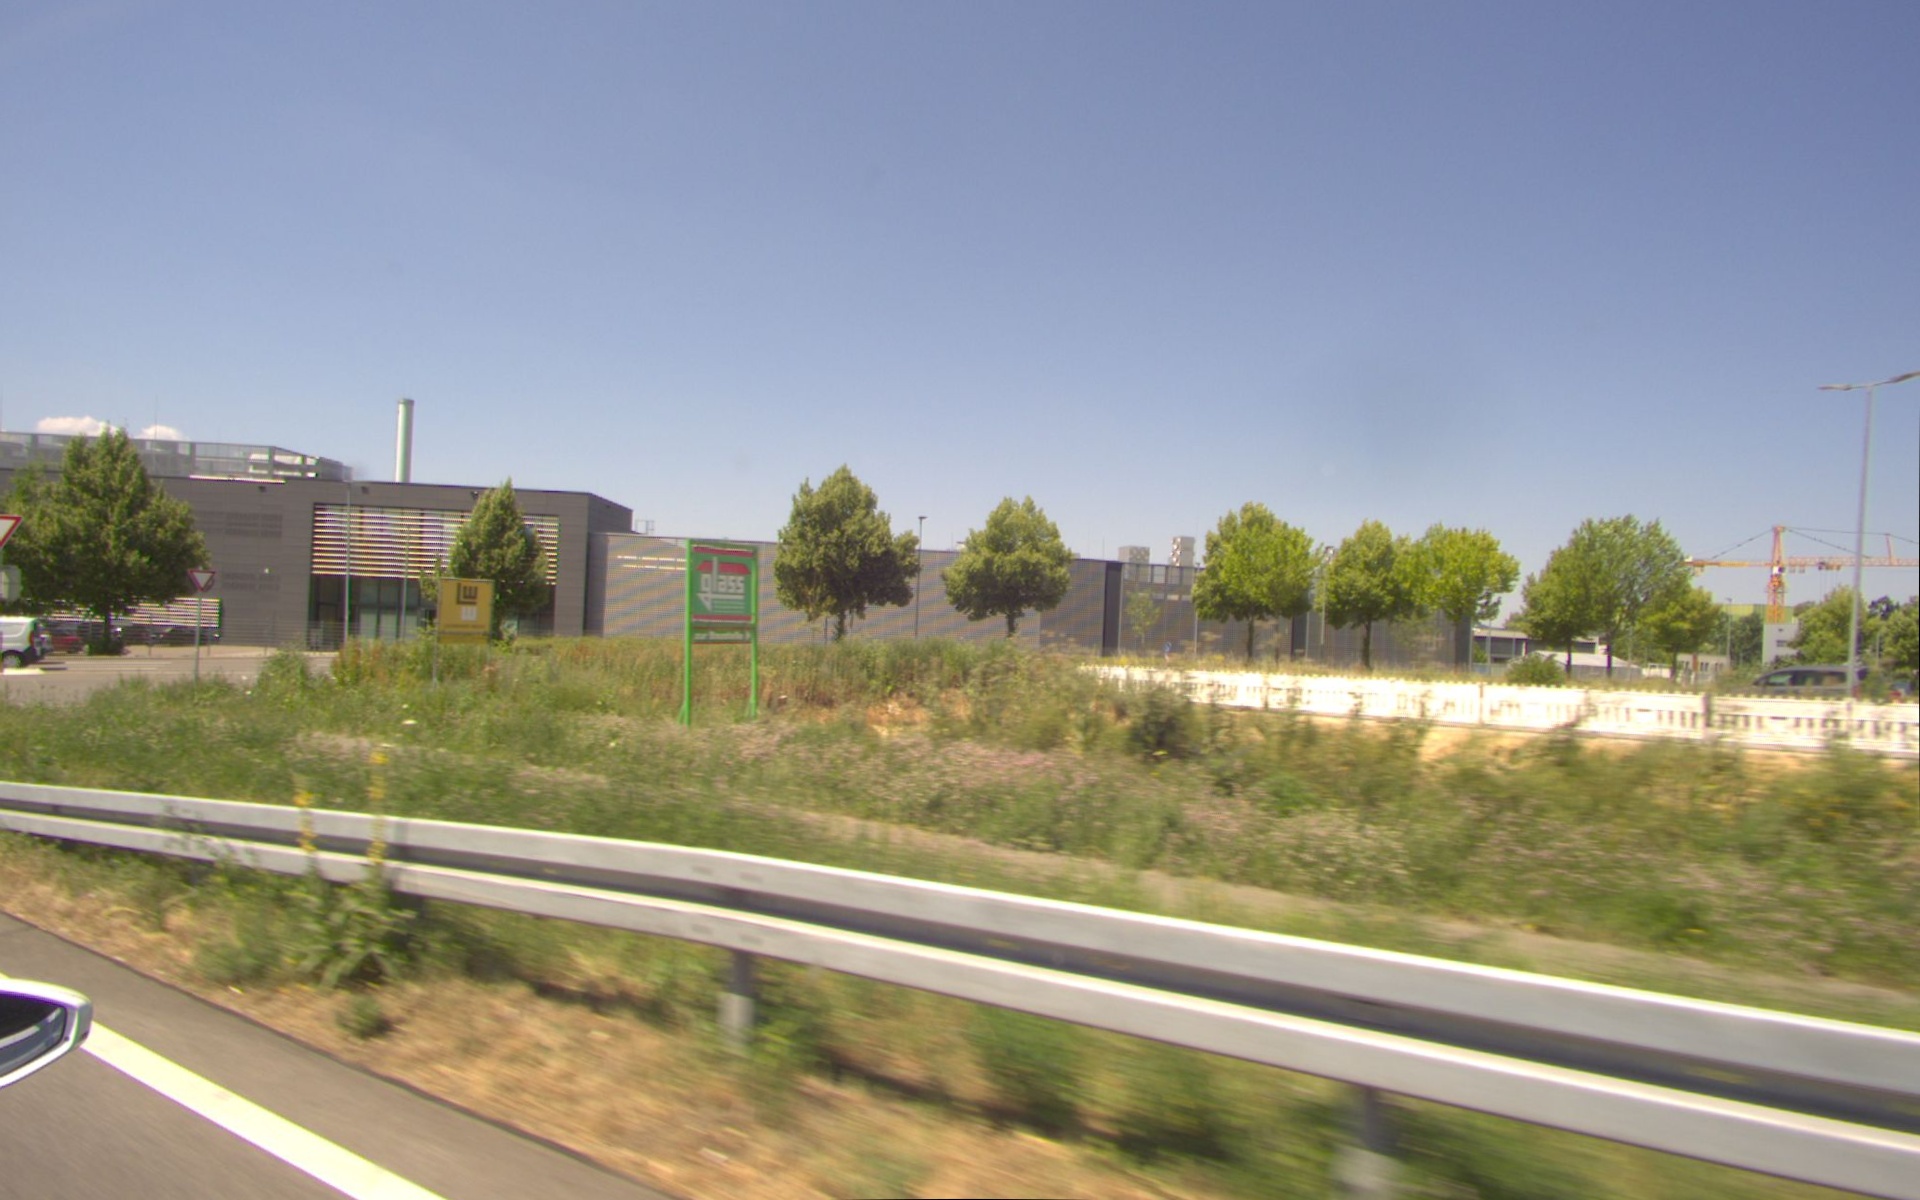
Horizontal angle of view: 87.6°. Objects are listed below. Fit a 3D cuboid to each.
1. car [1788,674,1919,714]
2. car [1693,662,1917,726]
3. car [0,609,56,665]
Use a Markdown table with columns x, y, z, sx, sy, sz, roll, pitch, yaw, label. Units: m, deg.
| x | y | z | sx | sy | sz | roll | pitch | yaw | label |
| --- | --- | --- | --- | --- | --- | --- | --- | --- | --- |
| 44.234 | 4.623 | 49.682 | 2.065 | 1.706 | 4.537 | 2 | -3 | -14 | car |
| 27.730 | 3.037 | 33.123 | 2.069 | 1.838 | 5.329 | 2 | -3 | -23 | car |
| -35.342 | 1.284 | 35.437 | 4.703 | 1.956 | 2.138 | 2 | -2 | -37 | car |
